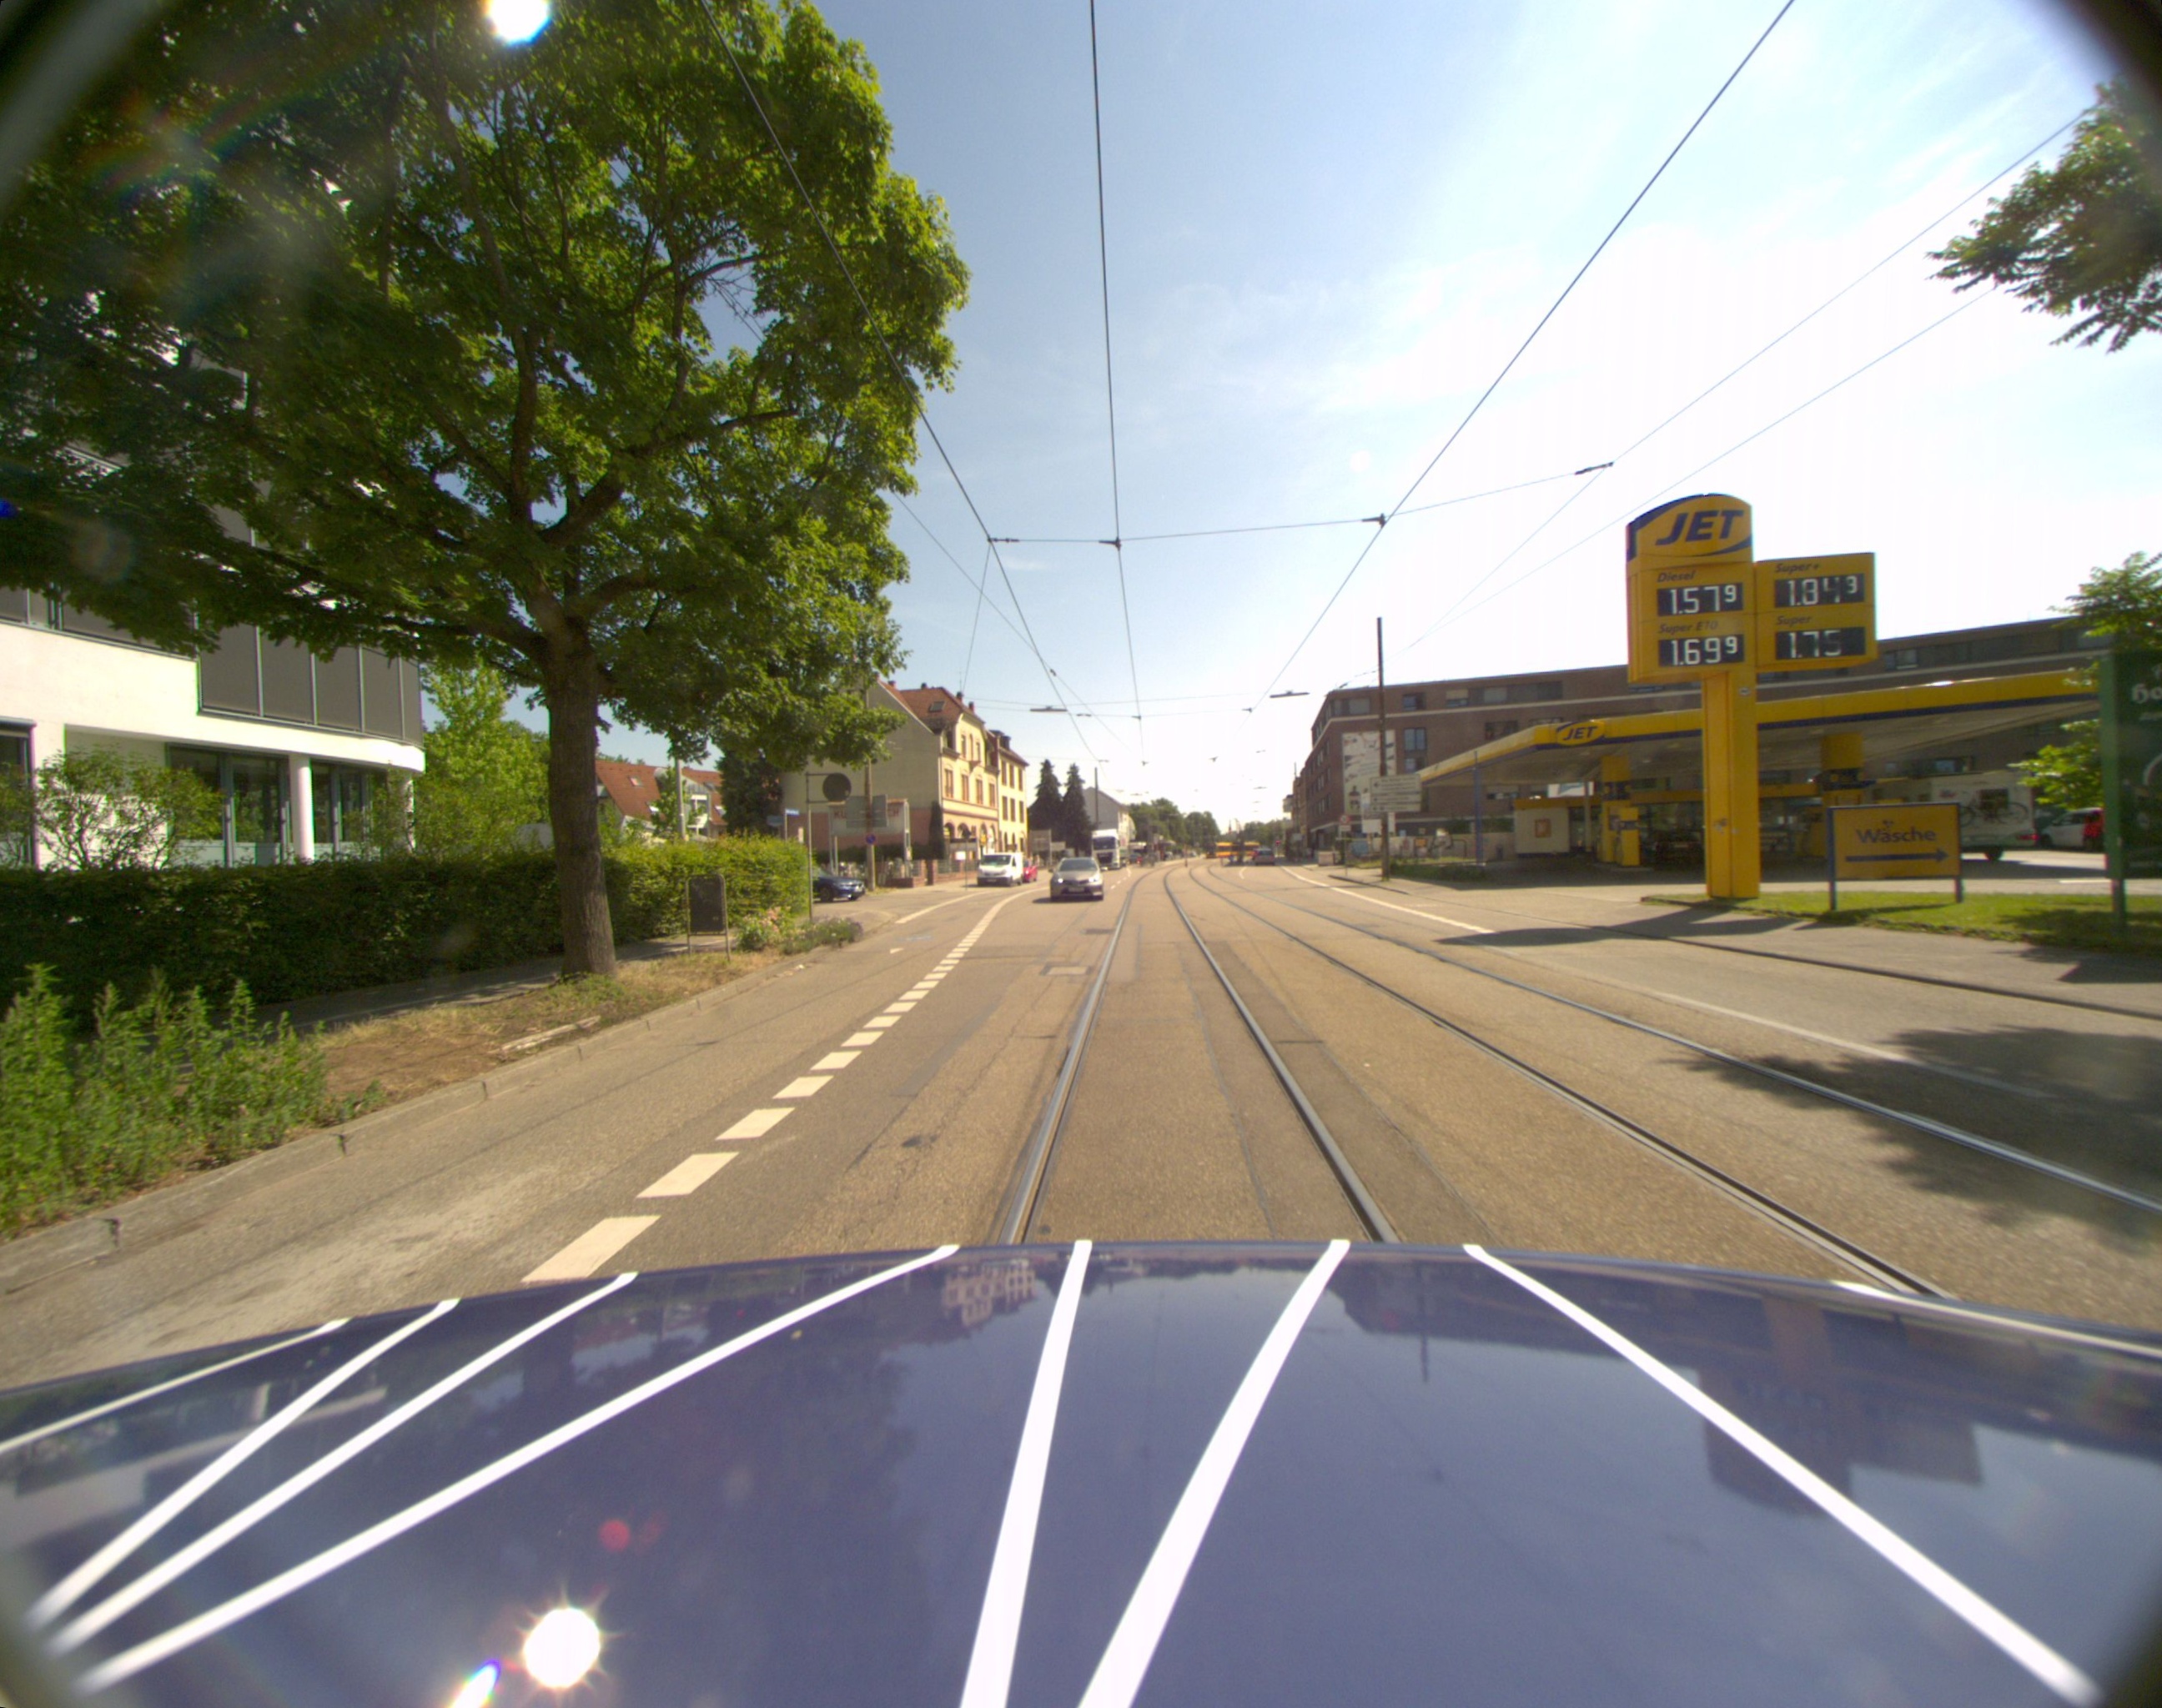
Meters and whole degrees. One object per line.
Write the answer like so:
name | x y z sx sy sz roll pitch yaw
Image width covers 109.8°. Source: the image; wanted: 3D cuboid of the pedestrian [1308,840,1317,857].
pedestrian | 25.920 -0.618 85.181 0.846 1.808 0.839 -2 1 13

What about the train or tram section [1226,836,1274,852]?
train or tram section | 41.097 -2.556 184.780 13.360 3.460 2.682 -2 1 -33

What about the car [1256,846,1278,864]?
car | 17.126 0.084 70.046 1.749 1.562 3.894 -1 1 10

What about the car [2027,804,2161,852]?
car | 42.146 -1.127 31.665 1.774 1.752 4.480 -4 1 29

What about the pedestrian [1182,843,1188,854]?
pedestrian | 17.311 -0.883 126.425 0.982 1.848 1.239 -2 1 13

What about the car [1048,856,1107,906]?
car | -0.044 0.860 26.368 1.695 1.440 4.481 -3 0 3

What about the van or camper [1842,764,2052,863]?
van or camper | 30.855 -1.408 27.506 2.610 2.950 6.723 -5 0 27

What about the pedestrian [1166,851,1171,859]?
pedestrian | 12.463 0.140 107.778 0.630 1.247 0.710 -1 1 12

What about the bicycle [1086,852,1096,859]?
bicycle | 1.721 0.238 135.362 1.687 1.104 0.513 -1 0 14

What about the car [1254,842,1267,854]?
car | 27.265 -0.908 115.698 1.804 1.718 4.193 -4 0 13

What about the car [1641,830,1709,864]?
car | 26.187 -0.361 33.636 1.698 1.295 4.397 -4 0 30

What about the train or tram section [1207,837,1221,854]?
train or tram section | 28.665 -1.914 163.805 2.684 3.460 13.348 -2 0 11

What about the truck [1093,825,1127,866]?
truck | 2.961 -0.781 75.377 2.656 3.772 7.867 -2 0 7

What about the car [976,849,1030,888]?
car | -4.363 0.758 43.214 1.980 2.043 5.193 0 1 7

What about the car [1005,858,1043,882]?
car | -3.661 1.028 49.512 1.725 1.435 4.314 0 1 6

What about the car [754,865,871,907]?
car | -10.027 1.172 28.520 3.753 1.380 1.672 -2 0 6
